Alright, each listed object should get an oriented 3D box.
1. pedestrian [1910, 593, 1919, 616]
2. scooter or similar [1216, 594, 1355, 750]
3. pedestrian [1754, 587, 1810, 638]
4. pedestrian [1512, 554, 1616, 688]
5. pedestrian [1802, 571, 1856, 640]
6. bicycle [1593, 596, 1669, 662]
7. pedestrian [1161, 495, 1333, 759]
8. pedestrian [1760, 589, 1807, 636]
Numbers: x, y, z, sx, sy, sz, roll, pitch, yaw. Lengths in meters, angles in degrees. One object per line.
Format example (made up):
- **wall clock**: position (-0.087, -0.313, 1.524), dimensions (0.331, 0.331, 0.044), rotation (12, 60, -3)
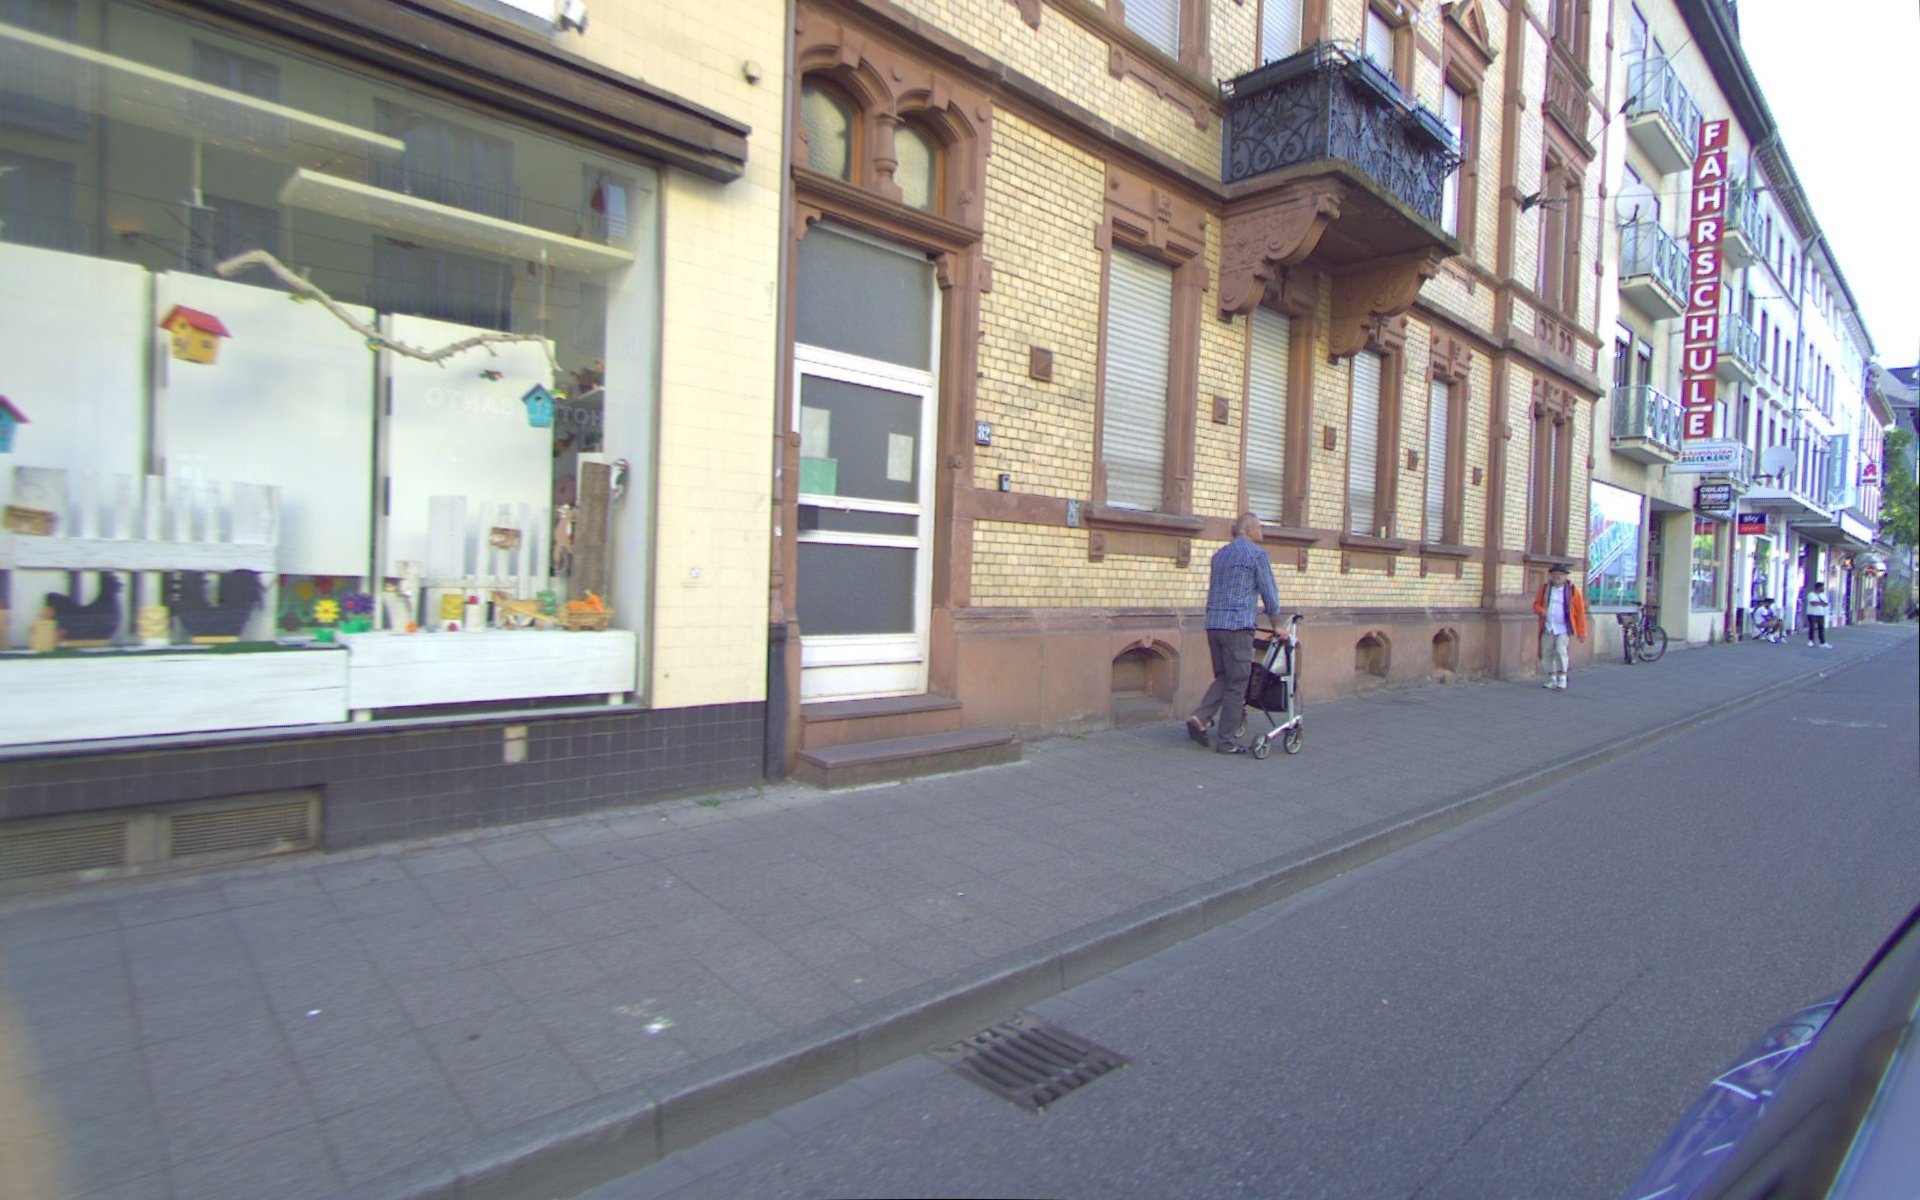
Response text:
- **pedestrian**: position (67.495, 0.332, 71.336), dimensions (0.648, 1.598, 0.673), rotation (3, 2, 40)
- **scooter or similar**: position (2.590, 0.543, 8.084), dimensions (0.512, 1.082, 0.807), rotation (0, 6, -43)
- **pedestrian**: position (22.929, 0.333, 28.237), dimensions (0.818, 1.269, 0.705), rotation (7, 5, 12)
- **pedestrian**: position (8.077, 0.266, 13.544), dimensions (0.811, 1.646, 0.800), rotation (2, 6, -42)
- **pedestrian**: position (24.572, 0.151, 28.623), dimensions (0.665, 1.832, 0.709), rotation (3, 6, -28)
- **bicycle**: position (11.988, 0.486, 18.042), dimensions (2.272, 1.073, 0.556), rotation (0, 4, -43)
- **pedestrian**: position (2.151, 0.171, 7.609), dimensions (0.749, 1.821, 0.807), rotation (1, 5, -43)
- **pedestrian**: position (23.582, 0.339, 28.992), dimensions (0.701, 1.188, 1.007), rotation (9, 6, 27)
